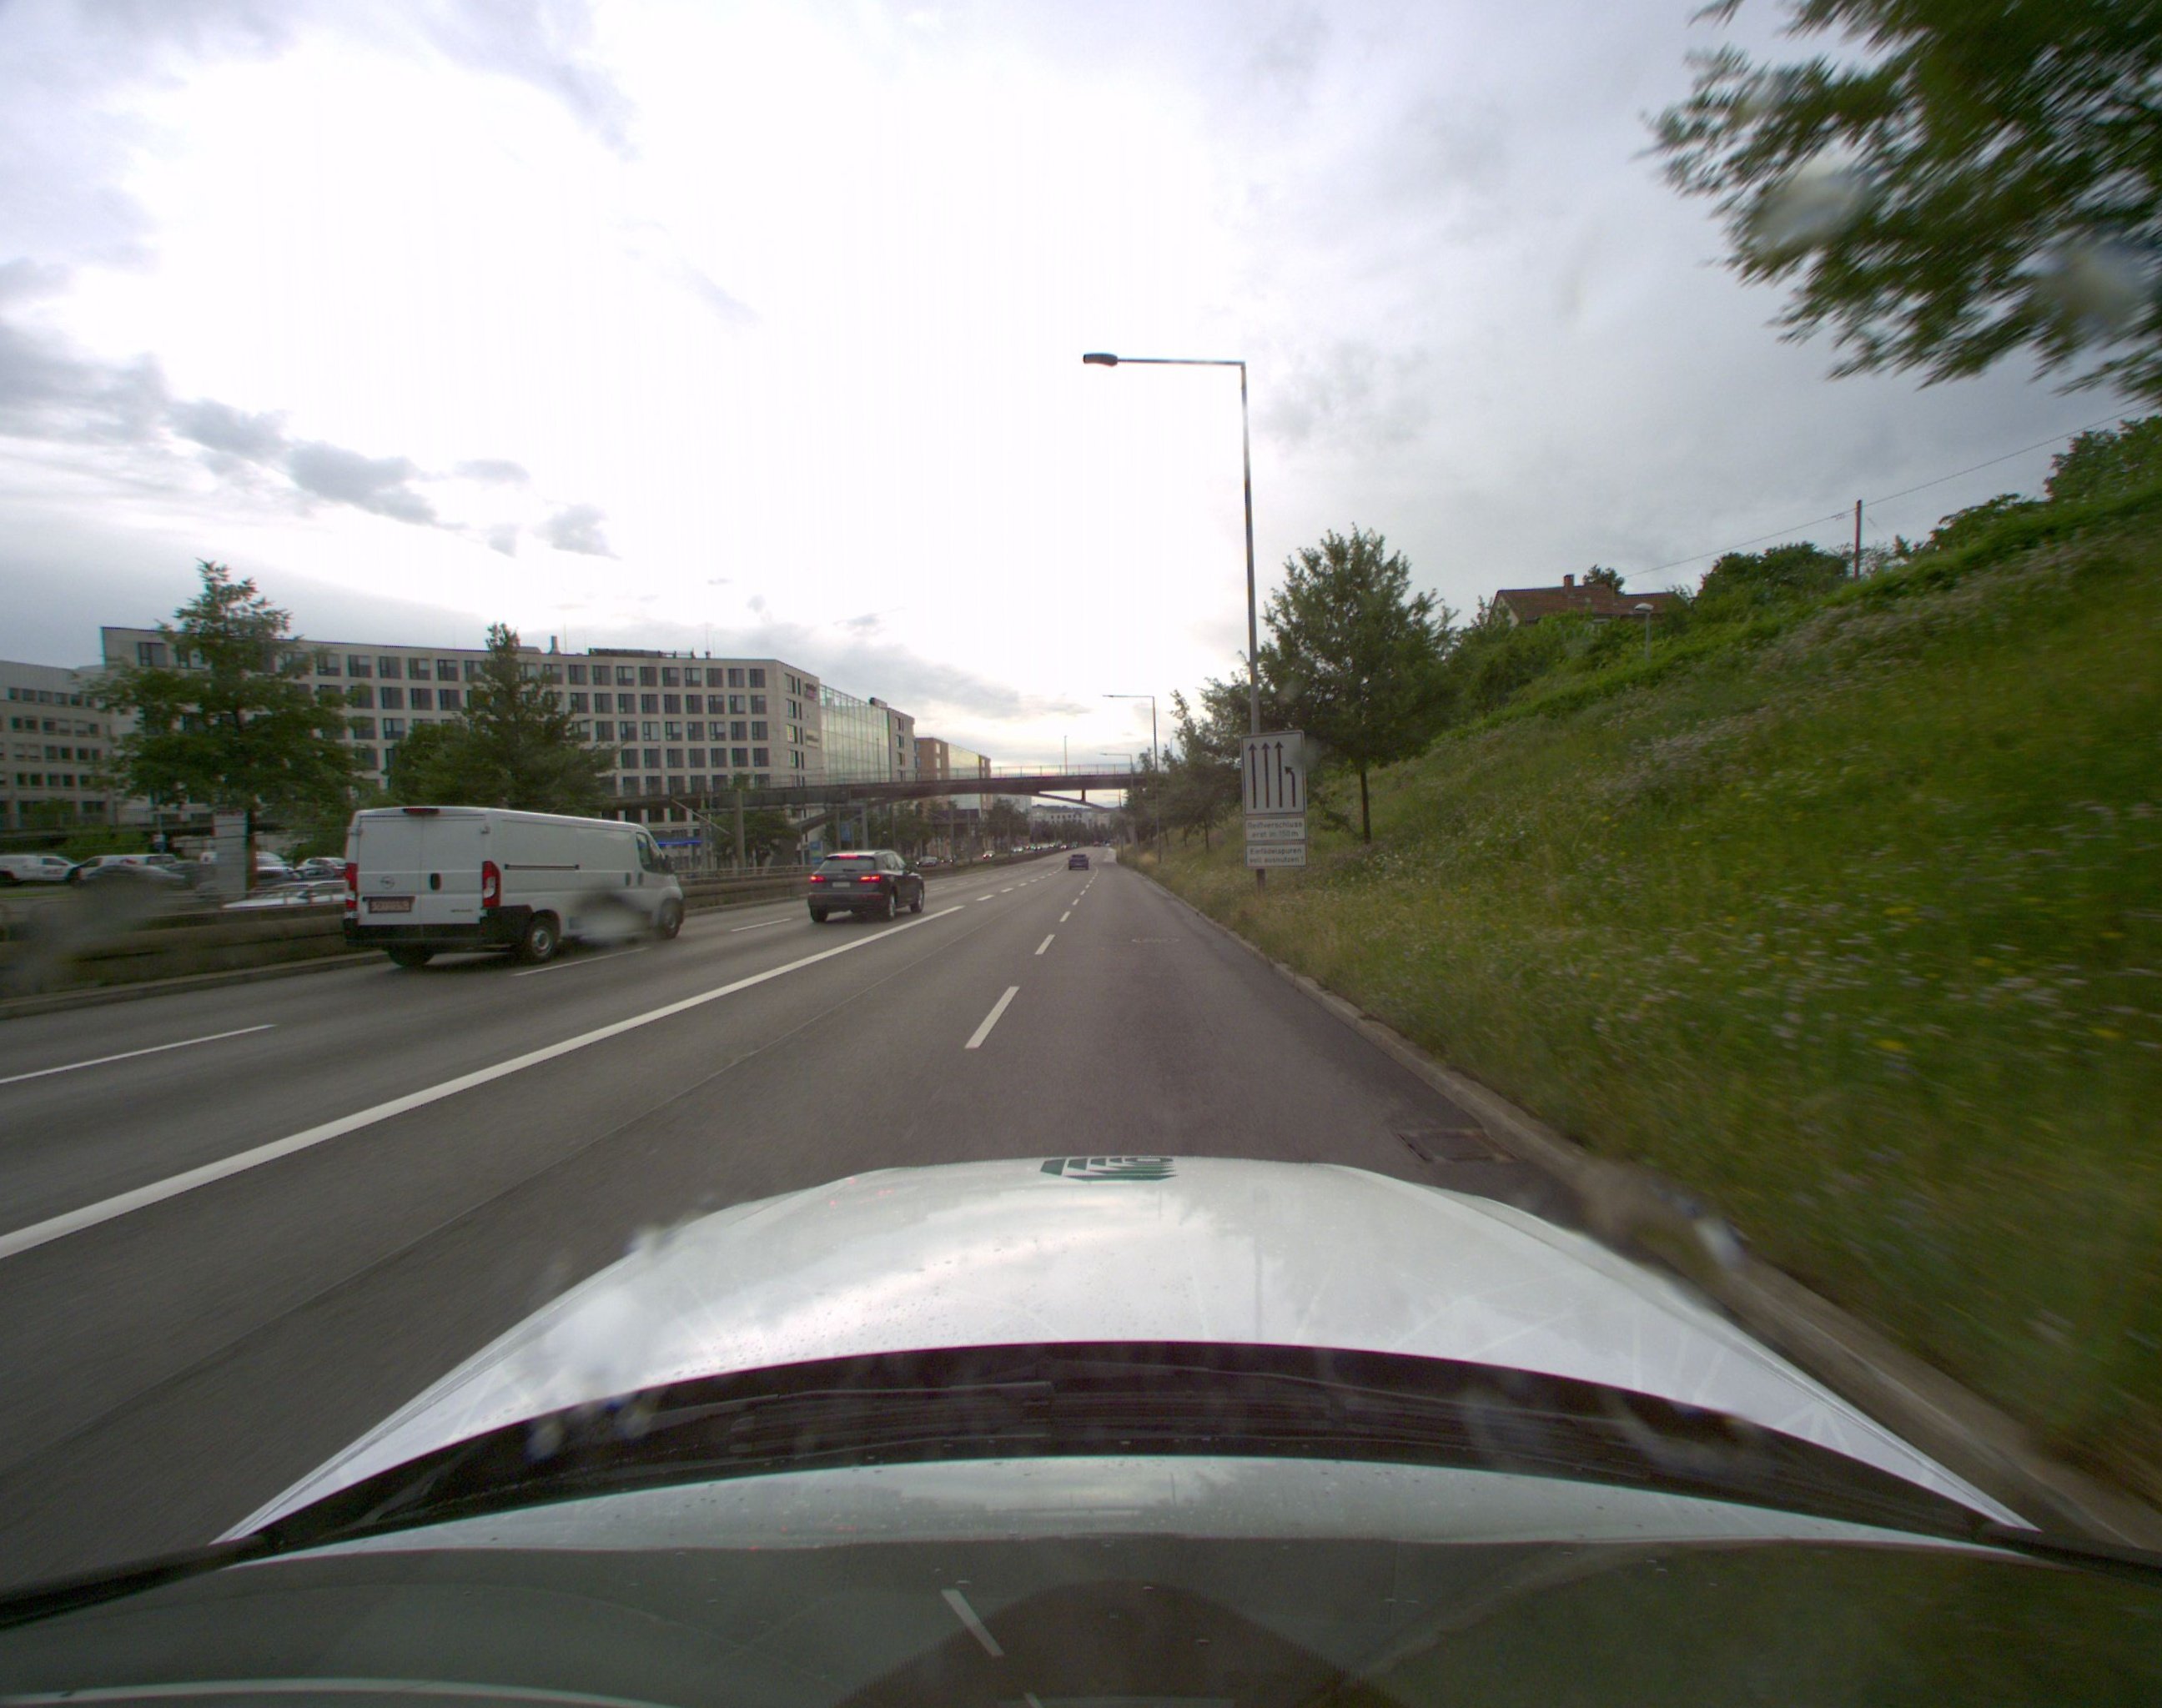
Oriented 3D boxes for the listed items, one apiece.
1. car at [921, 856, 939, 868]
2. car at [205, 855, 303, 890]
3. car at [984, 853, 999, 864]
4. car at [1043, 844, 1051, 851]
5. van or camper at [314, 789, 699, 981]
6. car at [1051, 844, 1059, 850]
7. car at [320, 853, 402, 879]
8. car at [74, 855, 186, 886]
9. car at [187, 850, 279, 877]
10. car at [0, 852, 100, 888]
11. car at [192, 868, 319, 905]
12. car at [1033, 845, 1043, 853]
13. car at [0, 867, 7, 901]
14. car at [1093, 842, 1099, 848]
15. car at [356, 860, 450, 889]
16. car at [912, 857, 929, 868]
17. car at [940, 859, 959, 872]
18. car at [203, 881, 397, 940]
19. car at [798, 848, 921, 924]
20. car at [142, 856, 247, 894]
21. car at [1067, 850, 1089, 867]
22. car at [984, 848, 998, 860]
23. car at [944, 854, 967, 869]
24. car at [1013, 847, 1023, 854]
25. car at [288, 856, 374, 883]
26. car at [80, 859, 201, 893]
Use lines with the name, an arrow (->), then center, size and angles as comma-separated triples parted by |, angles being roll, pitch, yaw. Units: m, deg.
car -> -19.095, 0.958, 103.226 | 1.512, 1.420, 3.480 | -2, 1, 2
car -> -49.134, 1.068, 48.422 | 3.966, 1.875, 2.005 | 0, 3, 7
car -> -14.771, 0.736, 134.596 | 1.987, 1.705, 4.001 | 0, 3, 0
car -> -9.789, -1.942, 234.270 | 1.985, 1.735, 4.253 | 0, 3, 3
van or camper -> -8.728, 0.391, 13.291 | 2.195, 2.439, 5.533 | -1, 0, 1
car -> -8.227, -2.203, 256.894 | 1.985, 1.735, 4.253 | 0, 3, 3
car -> -49.805, 0.826, 56.376 | 3.966, 1.650, 2.005 | 0, 3, 7
car -> -55.073, 0.944, 47.213 | 3.974, 1.650, 2.000 | 0, 3, -1
car -> -55.763, 0.594, 53.619 | 3.976, 1.650, 1.820 | 0, 3, -2
car -> -64.807, 0.977, 50.894 | 4.018, 2.048, 1.978 | -2, 3, -36
car -> -40.979, 1.585, 40.574 | 4.010, 1.651, 1.982 | 0, 1, -28
car -> -11.255, -1.265, 213.548 | 1.985, 2.013, 4.004 | -1, 0, 3
car -> -54.734, 1.511, 39.103 | 3.966, 1.650, 2.005 | 0, 3, 7
car -> 4.764, -2.791, 257.808 | 1.858, 1.749, 3.999 | 0, 3, -2
car -> -40.133, 1.200, 48.279 | 3.969, 1.651, 2.002 | 0, 1, 3
car -> -22.356, 1.131, 113.655 | 1.512, 1.420, 3.480 | -2, 1, 2
car -> -15.613, 1.310, 96.943 | 1.512, 1.420, 3.480 | -2, 1, 2
car -> -24.418, 1.718, 25.688 | 1.983, 1.585, 4.007 | -2, -1, 7
car -> -5.287, 0.696, 20.142 | 1.746, 1.617, 4.747 | -1, 0, -1
car -> -50.096, 1.186, 46.061 | 3.966, 2.013, 2.004 | -1, 0, 6
car -> -0.230, 0.375, 72.180 | 1.742, 1.420, 3.480 | -2, 1, 2
car -> -16.584, -0.024, 150.081 | 1.987, 2.013, 4.002 | 0, 3, 1
car -> -13.192, 0.780, 86.045 | 1.742, 1.420, 3.480 | -1, 0, 2
car -> -15.746, -0.870, 204.795 | 1.985, 1.735, 4.253 | 0, 3, 3
car -> -49.517, 1.001, 53.821 | 3.966, 1.650, 2.005 | 0, 3, 7
car -> -50.018, 1.126, 43.377 | 3.974, 1.650, 2.000 | 0, 3, -1
